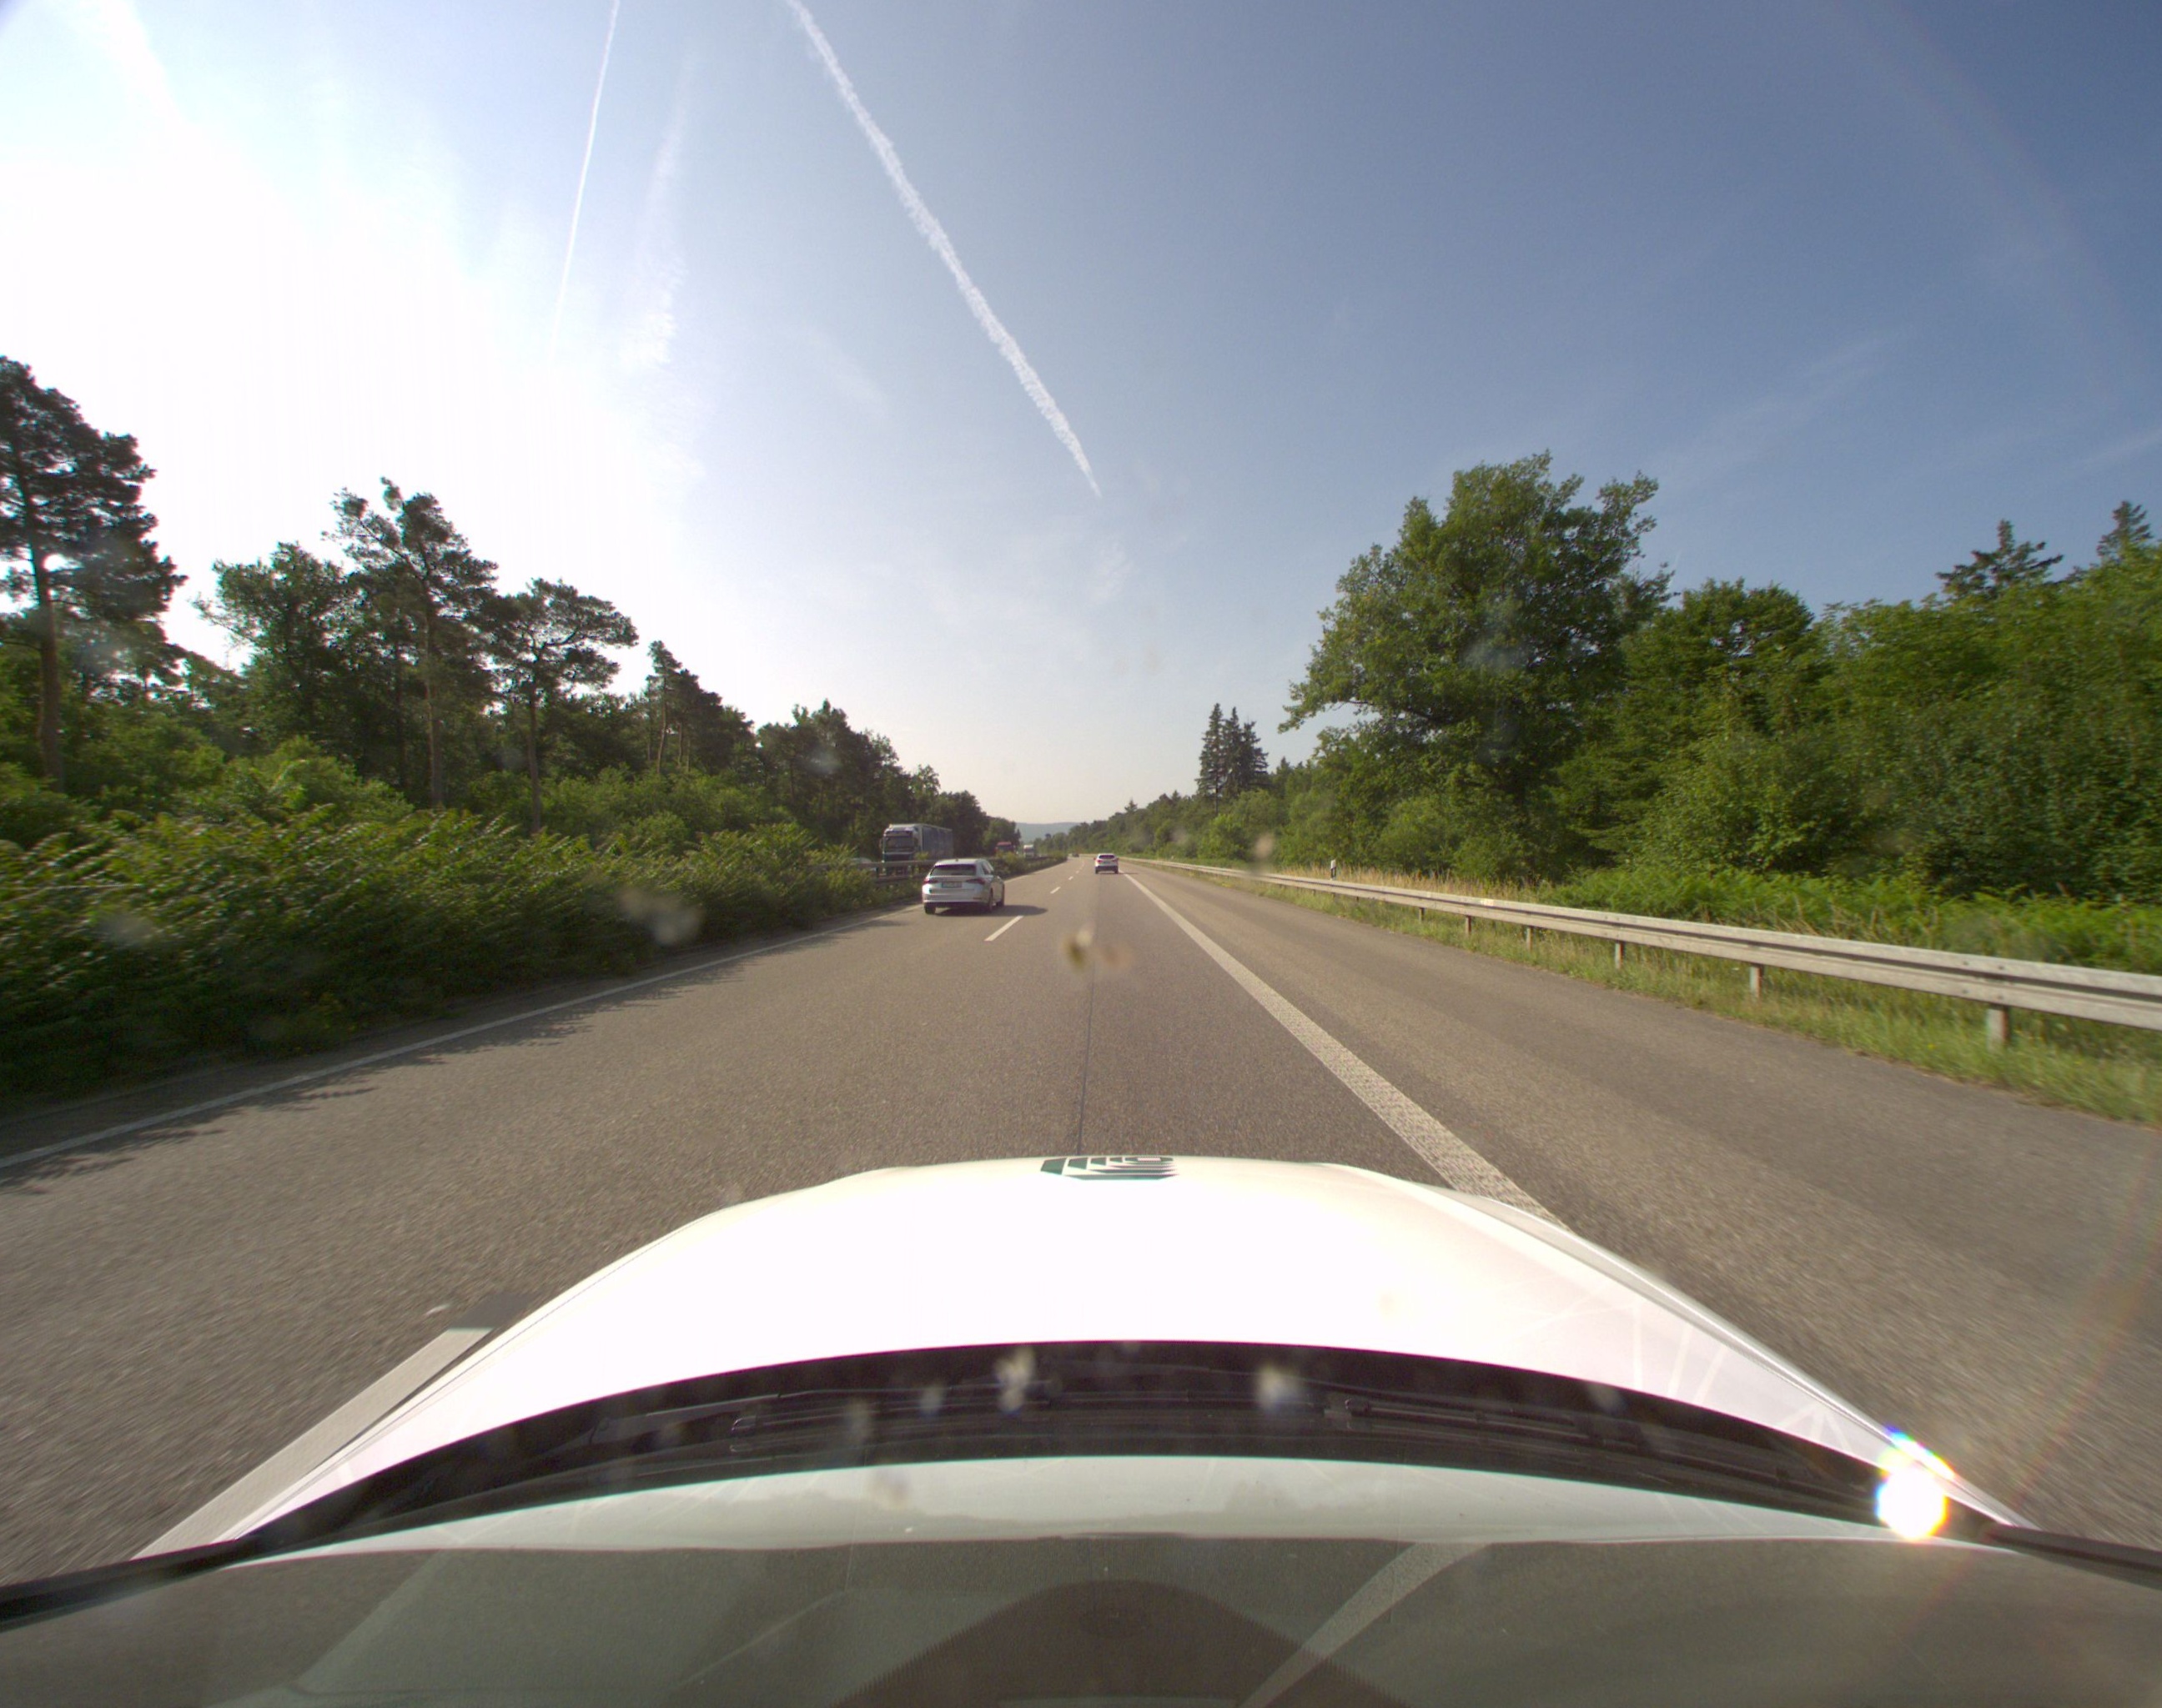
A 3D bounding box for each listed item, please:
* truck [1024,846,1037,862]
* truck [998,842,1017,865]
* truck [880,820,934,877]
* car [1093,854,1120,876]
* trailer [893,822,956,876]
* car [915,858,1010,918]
[{"bbox_3d":[-12.914,0.016,209.471,2.829,4.196,5.545,-1,0,0],"label":"truck"},{"bbox_3d":[-12.949,-0.101,143.413,3.261,4.039,6.223,0,0,-4],"label":"truck"},{"bbox_3d":[-13.600,-0.405,64.228,2.699,4.200,6.294,-1,0,1],"label":"truck"},{"bbox_3d":[1.943,0.844,64.036,1.868,1.586,3.997,1,0,-2],"label":"car"},{"bbox_3d":[-13.450,-0.384,71.294,2.682,4.200,13.082,-1,0,1],"label":"trailer"},{"bbox_3d":[-3.198,0.871,23.097,1.786,1.438,5.279,-1,0,1],"label":"car"}]
